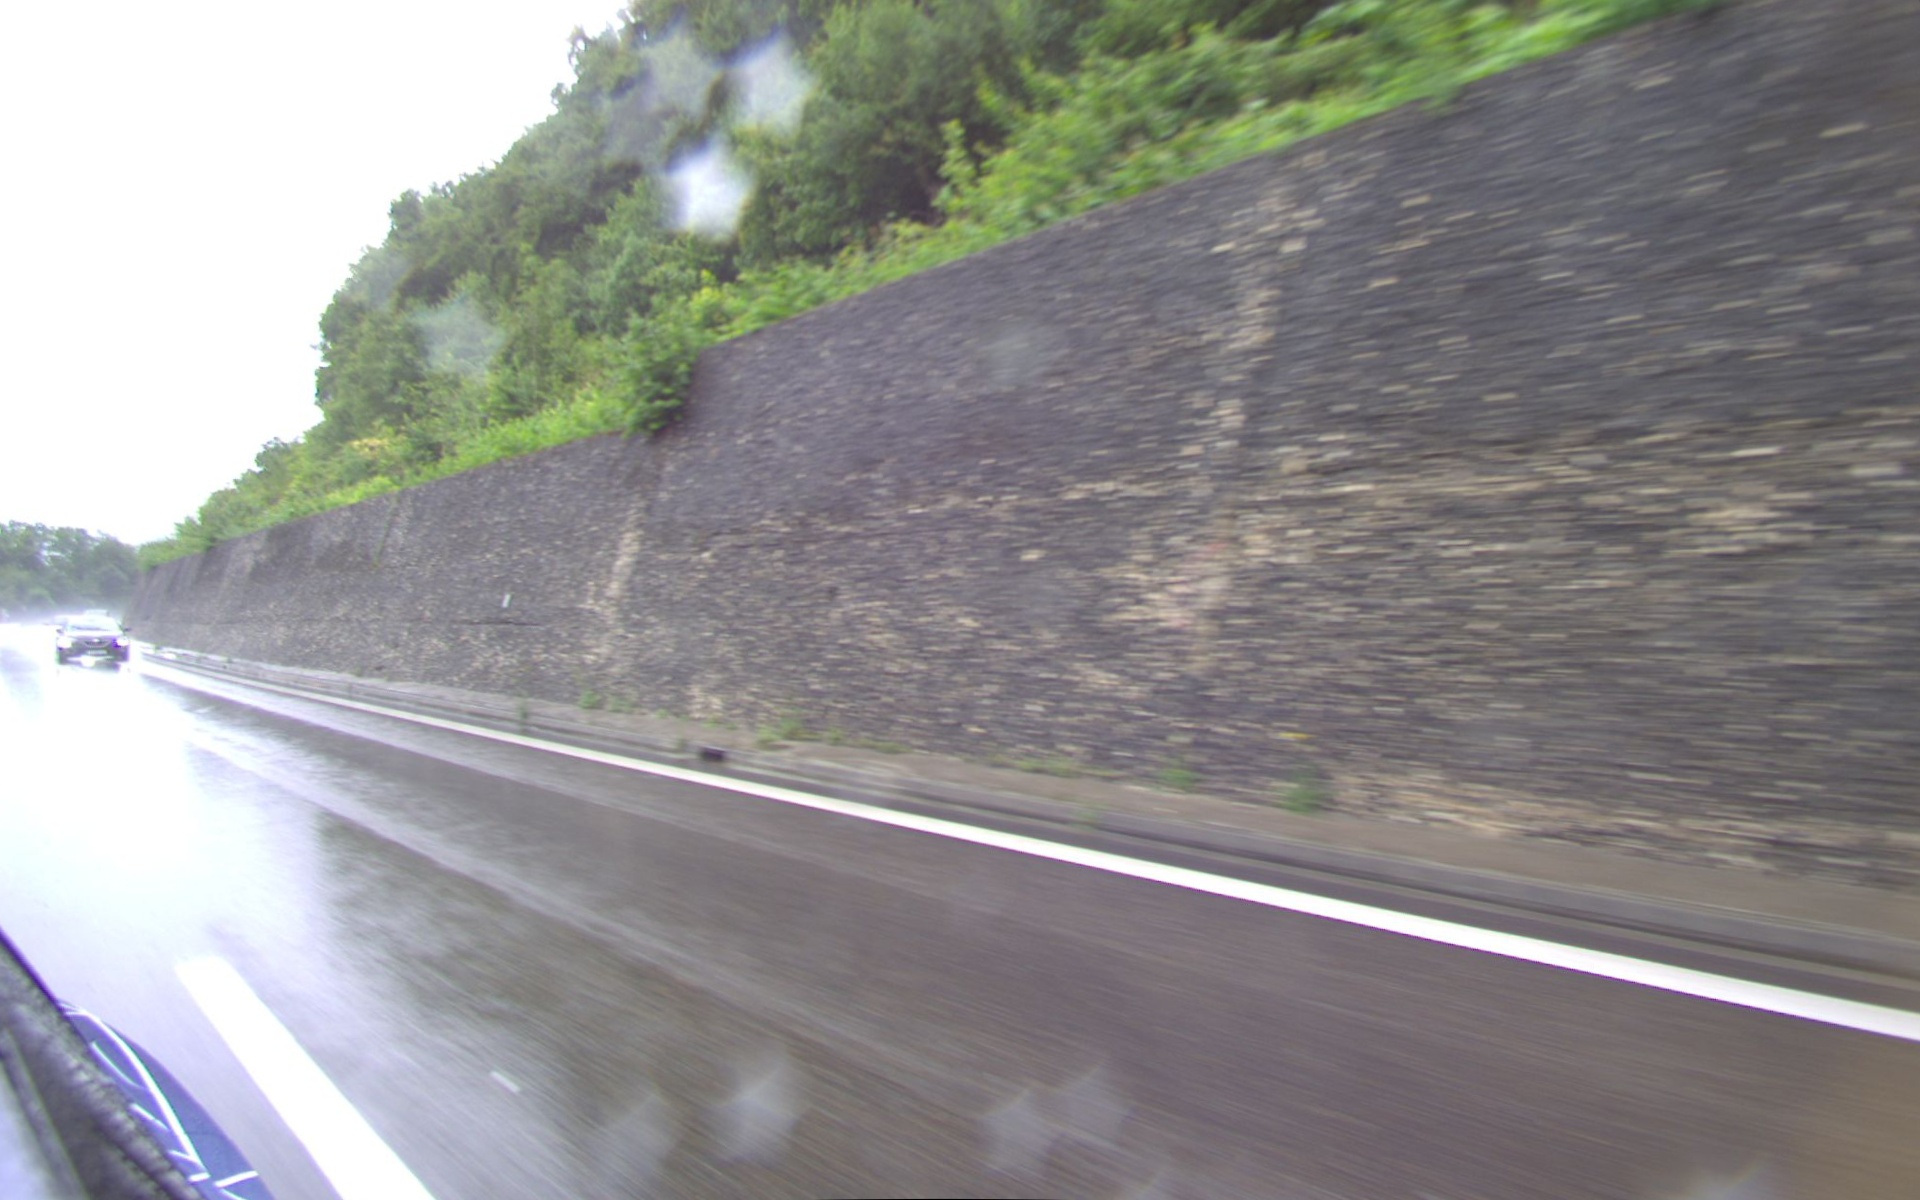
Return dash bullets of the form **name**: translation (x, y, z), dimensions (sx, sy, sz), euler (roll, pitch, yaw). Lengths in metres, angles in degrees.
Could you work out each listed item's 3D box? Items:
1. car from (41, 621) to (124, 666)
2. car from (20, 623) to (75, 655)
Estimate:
- **car**: translation (-29.177, 1.404, 33.621), dimensions (4.002, 1.393, 1.802), euler (-1, -1, 45)
- **car**: translation (-44.390, 1.886, 49.300), dimensions (1.800, 1.393, 4.006), euler (-2, 0, -40)
